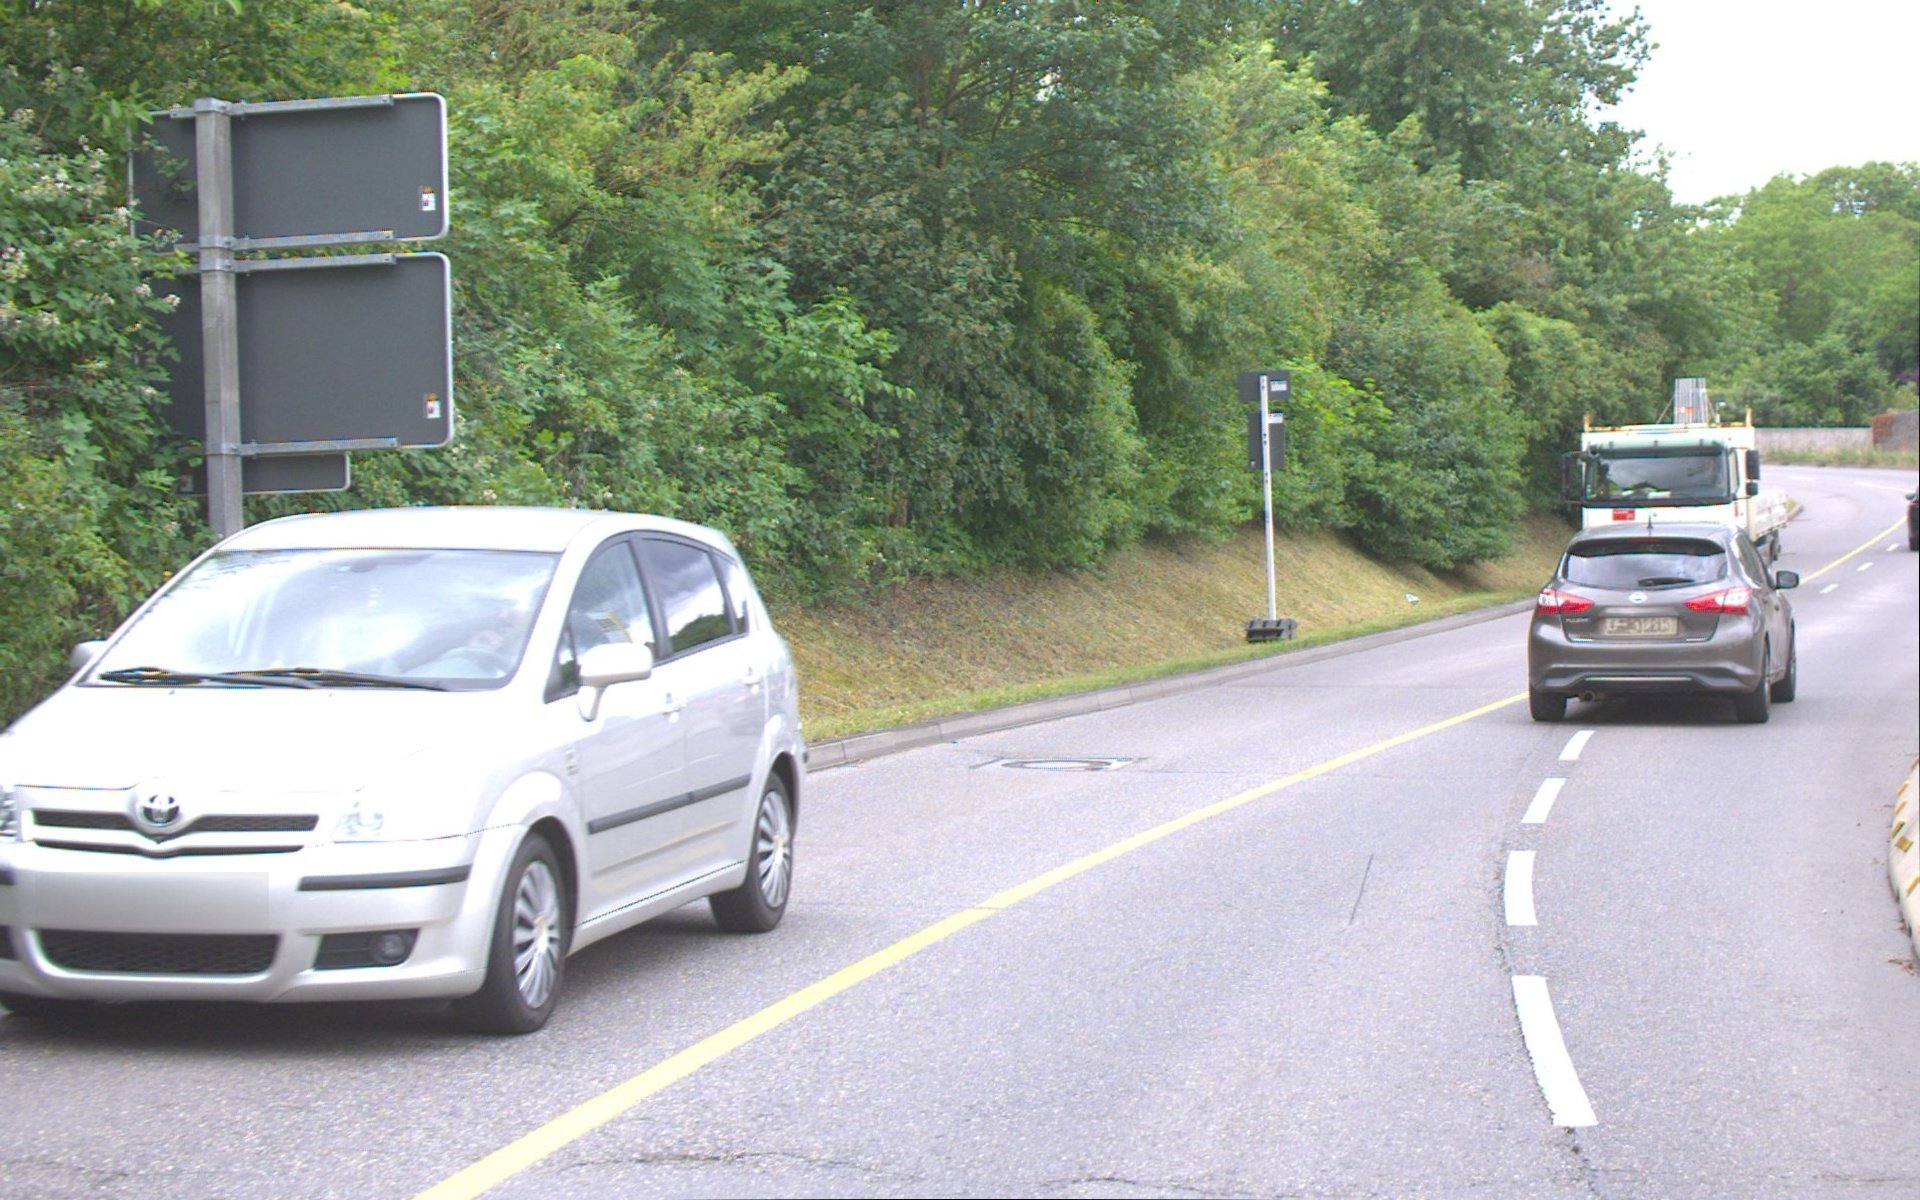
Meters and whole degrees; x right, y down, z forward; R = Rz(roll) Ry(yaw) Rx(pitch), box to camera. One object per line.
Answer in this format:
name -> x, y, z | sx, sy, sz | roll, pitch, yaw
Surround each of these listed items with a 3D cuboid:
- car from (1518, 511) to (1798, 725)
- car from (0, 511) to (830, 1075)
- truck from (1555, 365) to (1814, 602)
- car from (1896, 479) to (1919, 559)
car -> 5.590, 0.096, 27.195 | 1.799, 1.547, 3.997 | 1, 1, 17
car -> -1.798, 0.496, 11.701 | 1.657, 1.547, 4.184 | 1, 1, 13
truck -> 11.436, -1.858, 53.631 | 2.822, 3.324, 8.373 | -2, 2, 19
car -> 19.842, -1.613, 68.383 | 1.822, 1.546, 3.784 | 0, 1, 24
